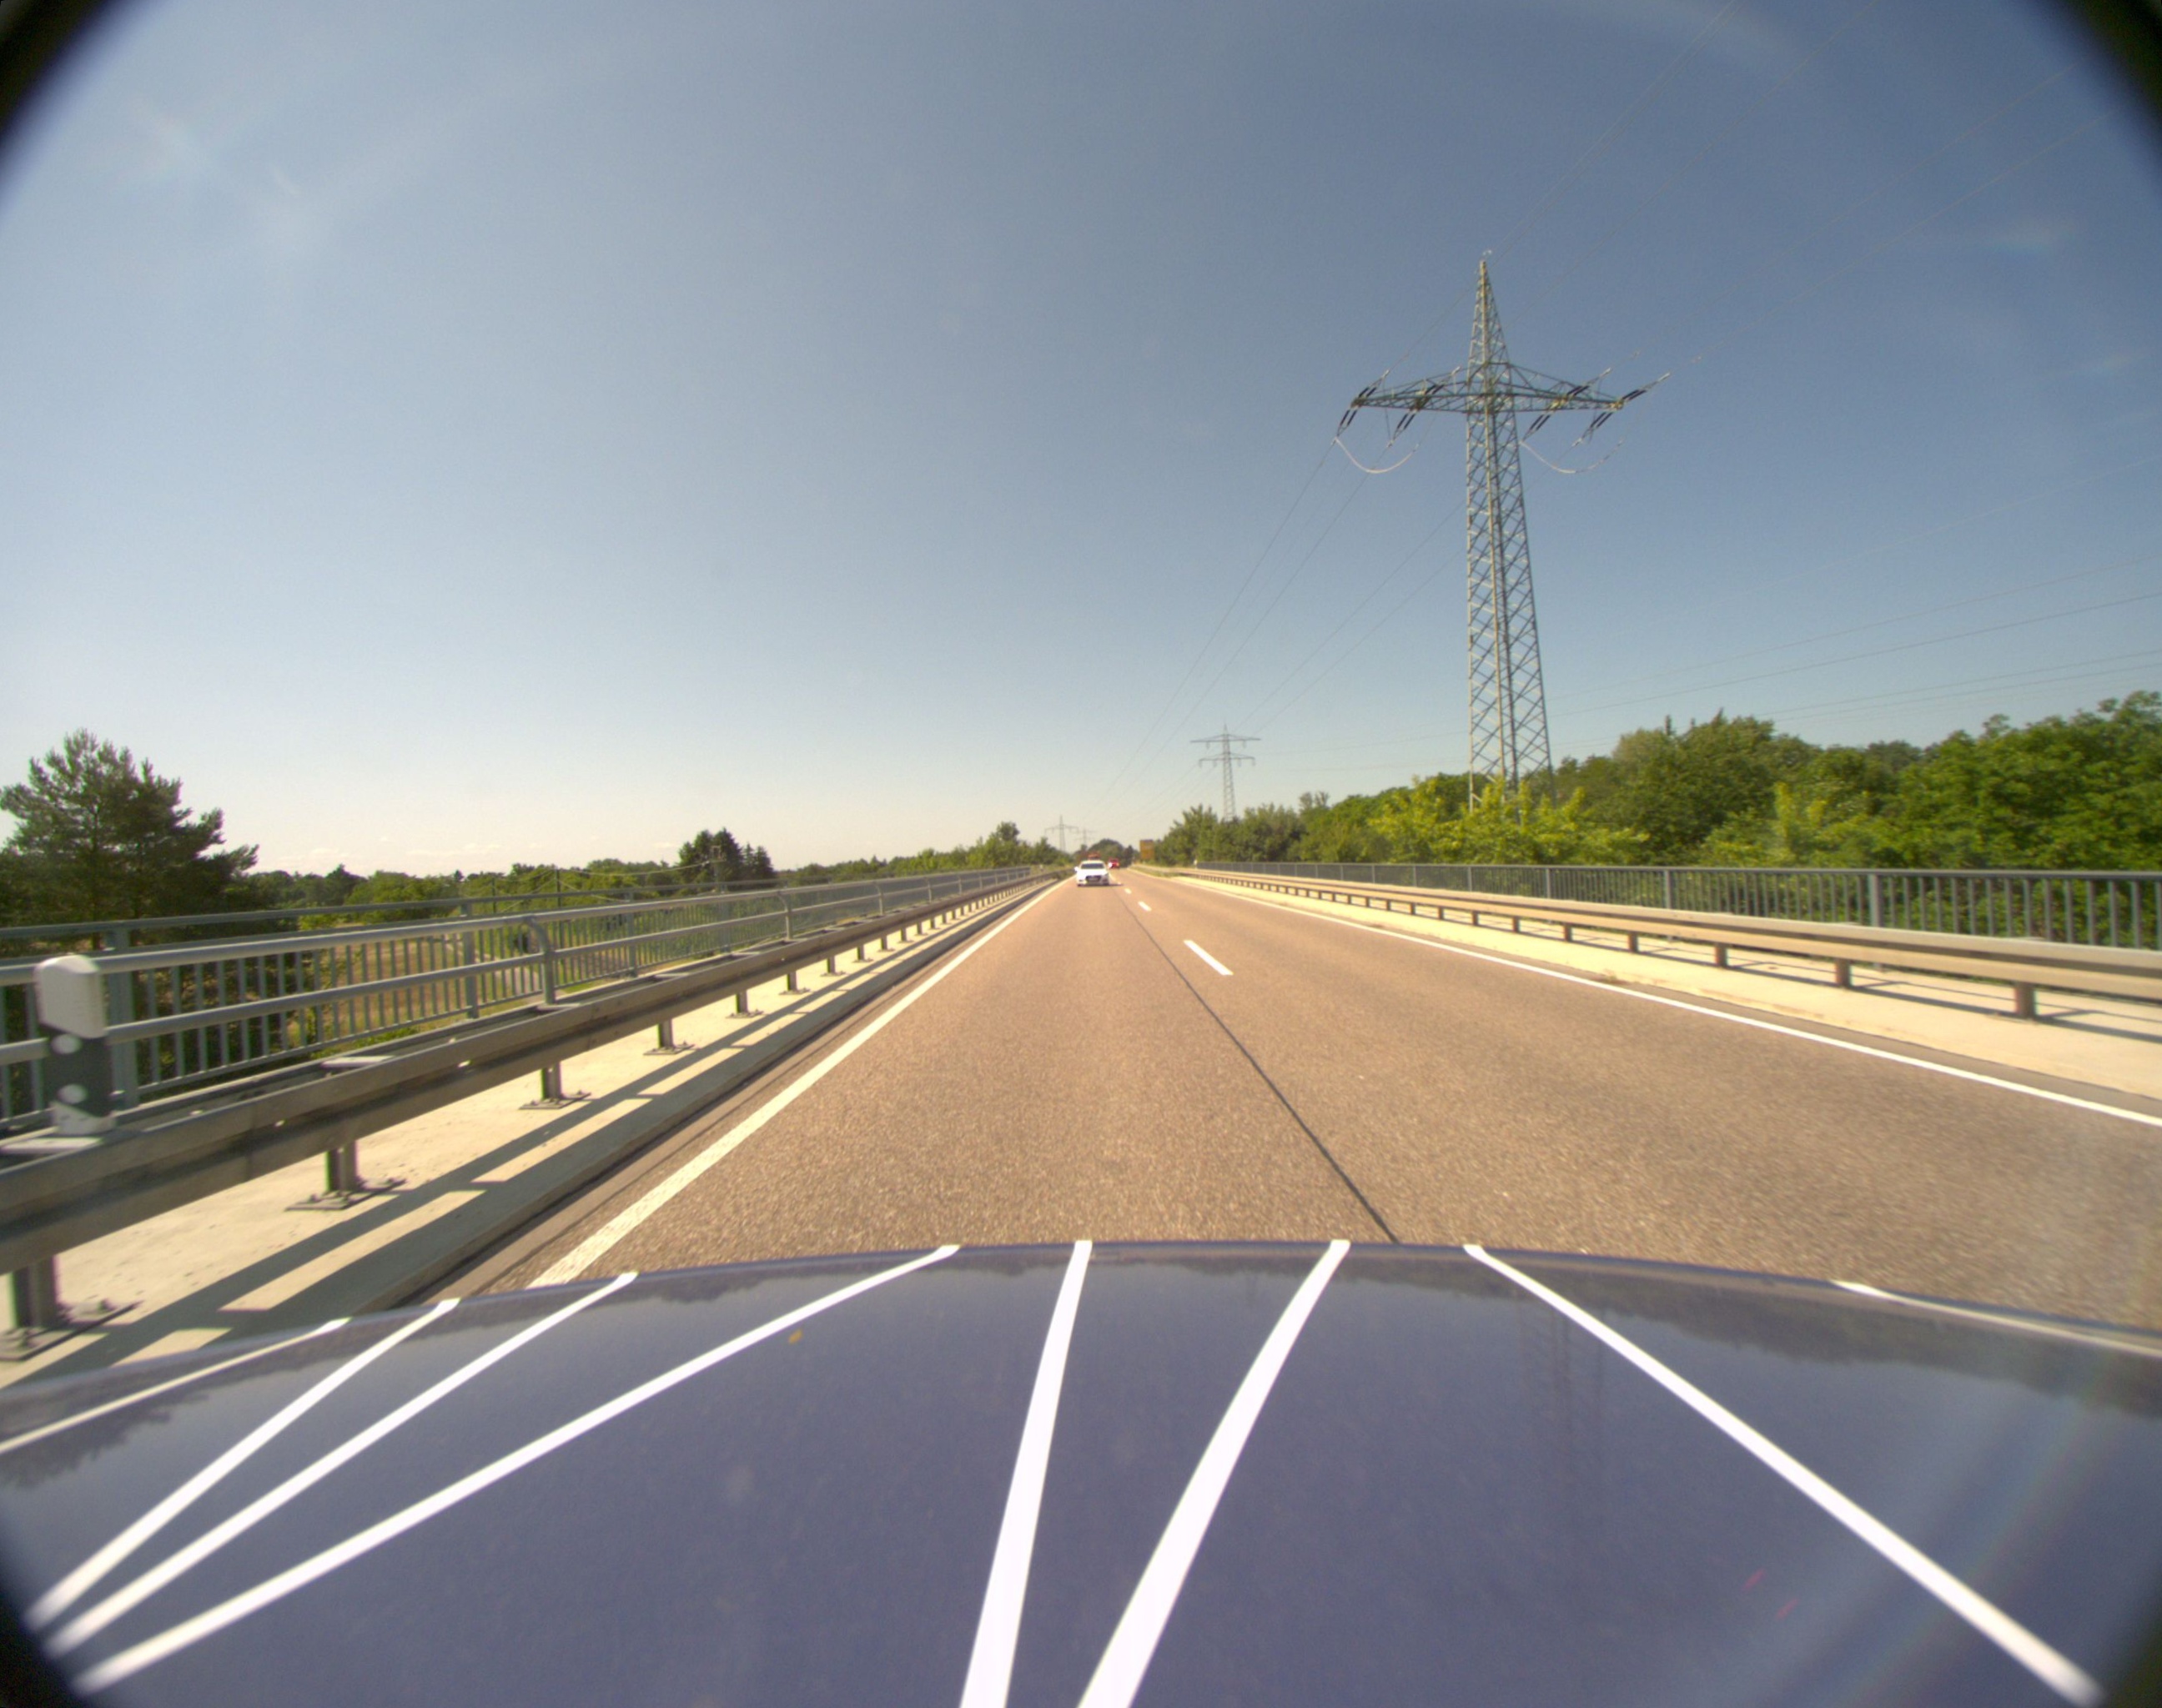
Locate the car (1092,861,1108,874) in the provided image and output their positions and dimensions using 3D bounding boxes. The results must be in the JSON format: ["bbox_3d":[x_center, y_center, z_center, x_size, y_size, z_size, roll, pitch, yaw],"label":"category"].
[{"bbox_3d":[2.487,1.777,100.056,1.922,1.539,4.795,-2,-1,3],"label":"car"}]

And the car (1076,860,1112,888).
[{"bbox_3d":[0.745,1.132,43.886,1.923,1.495,4.794,-2,-1,0],"label":"car"}]

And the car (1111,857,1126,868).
[{"bbox_3d":[6.799,1.490,138.622,2.125,1.934,5.023,-2,-1,9],"label":"car"}]

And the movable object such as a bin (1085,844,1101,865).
[{"bbox_3d":[2.390,0.101,148.884,2.760,3.816,9.447,-2,-1,2],"label":"movable object such as a bin"}]
